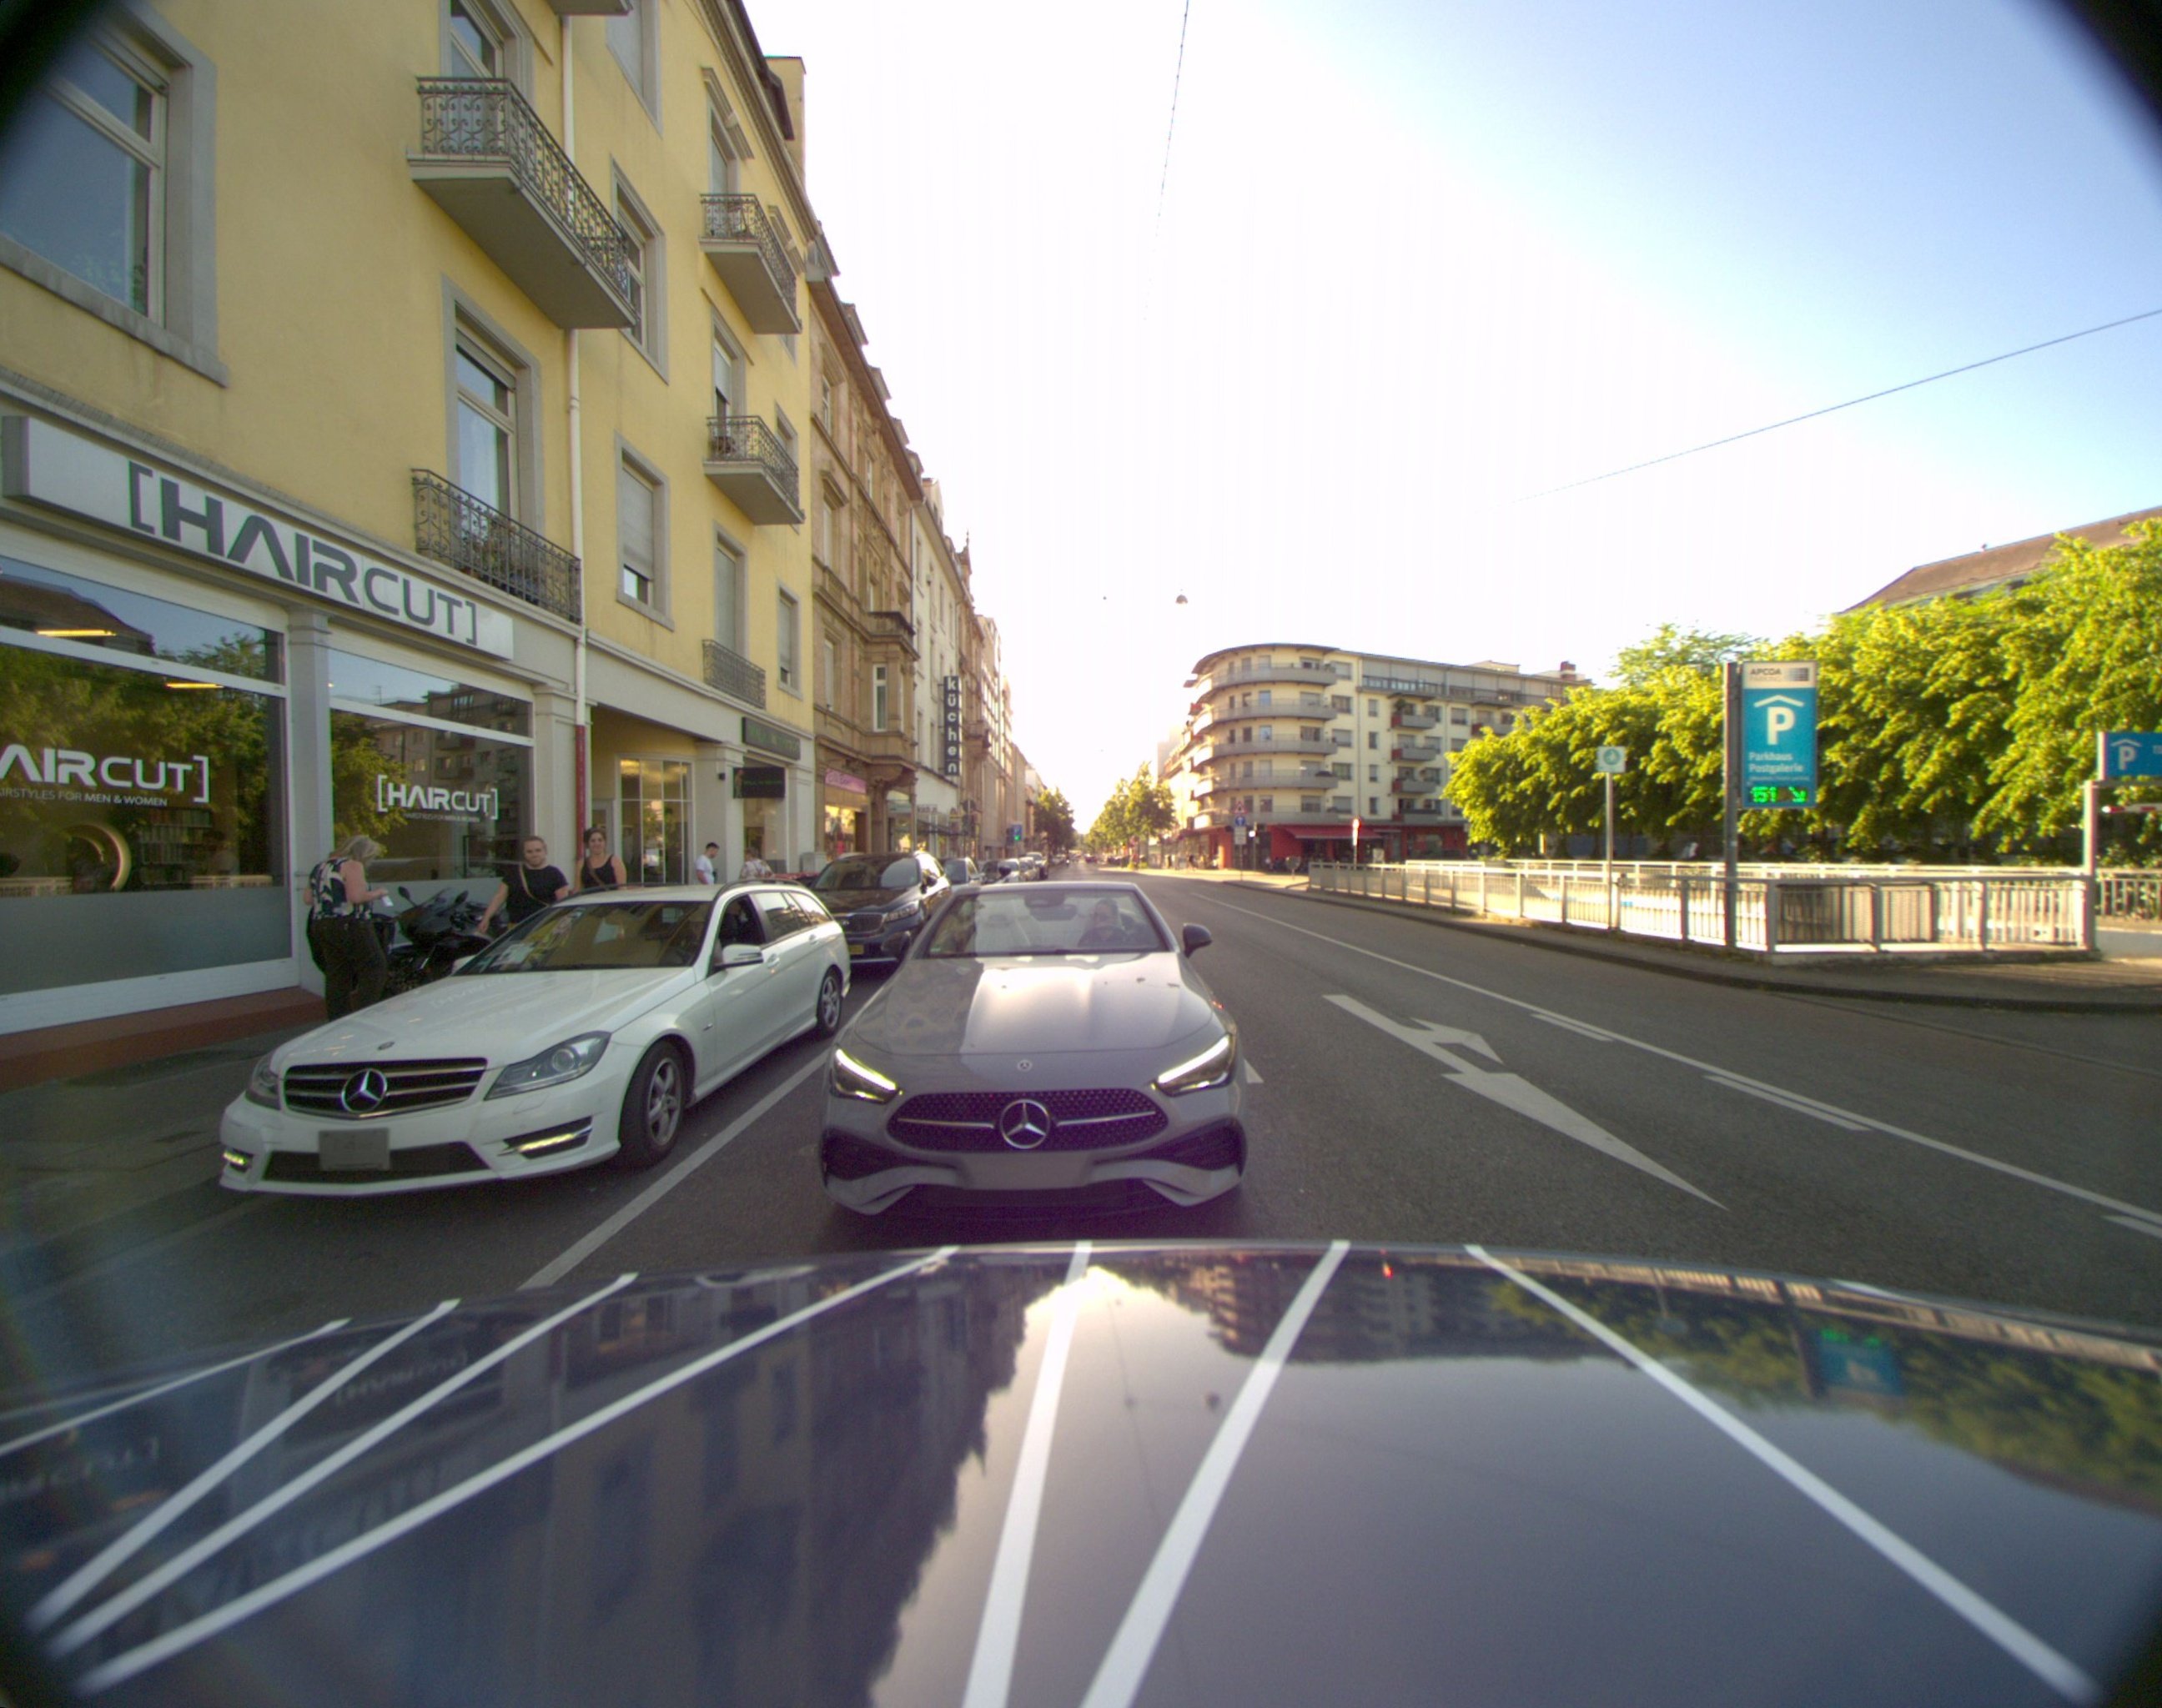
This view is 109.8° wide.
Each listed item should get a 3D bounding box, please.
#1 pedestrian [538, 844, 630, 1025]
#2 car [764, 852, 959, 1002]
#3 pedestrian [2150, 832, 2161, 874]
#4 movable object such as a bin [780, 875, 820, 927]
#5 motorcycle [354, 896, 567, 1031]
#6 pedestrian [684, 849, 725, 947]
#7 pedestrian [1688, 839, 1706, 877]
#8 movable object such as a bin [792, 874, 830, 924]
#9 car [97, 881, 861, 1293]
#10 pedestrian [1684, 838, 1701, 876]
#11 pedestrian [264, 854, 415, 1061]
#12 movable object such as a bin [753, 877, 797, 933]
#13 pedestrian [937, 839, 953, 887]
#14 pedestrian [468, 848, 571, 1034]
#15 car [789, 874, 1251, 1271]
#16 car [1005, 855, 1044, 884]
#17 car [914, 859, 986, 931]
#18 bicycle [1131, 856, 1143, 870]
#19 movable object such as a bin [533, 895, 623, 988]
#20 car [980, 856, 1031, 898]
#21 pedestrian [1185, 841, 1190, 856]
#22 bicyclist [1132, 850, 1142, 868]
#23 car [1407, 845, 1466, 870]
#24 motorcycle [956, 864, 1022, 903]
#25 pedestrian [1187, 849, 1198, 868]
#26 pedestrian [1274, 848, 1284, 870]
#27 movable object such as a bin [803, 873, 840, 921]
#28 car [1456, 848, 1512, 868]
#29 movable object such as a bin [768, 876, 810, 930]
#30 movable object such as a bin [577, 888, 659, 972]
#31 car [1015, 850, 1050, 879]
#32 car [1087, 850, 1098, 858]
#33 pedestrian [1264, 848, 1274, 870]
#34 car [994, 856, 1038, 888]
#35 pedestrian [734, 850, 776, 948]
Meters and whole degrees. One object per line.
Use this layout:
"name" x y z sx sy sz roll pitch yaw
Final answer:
"pedestrian" -4.595 0.724 7.038 0.514 1.623 0.415 -1 1 8
"car" -2.979 0.860 11.343 1.760 1.726 4.571 -1 0 -3
"pedestrian" 46.039 -0.043 32.268 0.602 1.782 0.581 -2 1 -20
"movable object such as a bin" -6.076 1.003 16.457 0.606 1.060 0.619 2 1 0
"motorcycle" -6.230 1.034 7.804 0.551 1.085 2.009 0 0 -1
"pedestrian" -6.454 0.735 13.031 0.337 1.651 0.525 1 1 24
"pedestrian" 29.278 0.171 36.101 0.602 1.782 0.581 -3 2 -45
"movable object such as a bin" -6.065 1.009 17.090 0.606 1.060 0.619 2 1 0
"car" -3.061 1.022 5.294 1.743 1.438 4.463 -1 0 0
"pedestrian" 29.609 0.153 36.784 0.602 1.782 0.581 -3 2 -45
"pedestrian" -6.059 0.814 6.235 0.698 1.623 0.532 0 1 -2
"movable object such as a bin" -6.111 1.018 15.195 0.606 1.060 0.619 2 1 0
"pedestrian" -5.014 0.333 28.047 0.434 1.752 0.481 -2 1 1
"pedestrian" -5.169 0.770 7.027 0.619 1.623 0.462 -2 1 -21
"car" -0.237 0.951 5.285 1.848 1.440 4.373 -1 0 0
"car" -2.999 0.809 41.095 1.737 1.409 3.802 -1 0 0
"car" -3.028 0.897 17.957 1.275 1.509 2.794 -1 0 -2
"bicycle" 5.088 0.802 68.850 0.713 1.205 1.872 -2 0 -6
"movable object such as a bin" -6.138 1.049 9.293 0.661 1.035 0.619 2 1 3
"car" -2.960 0.858 30.606 1.737 1.509 4.164 -1 0 -2
"pedestrian" 11.020 -0.538 78.538 0.376 1.521 0.516 -2 1 -3
"bicyclist" 5.085 0.463 68.817 0.713 1.605 0.975 -2 1 -5
"car" 29.249 0.244 62.521 4.432 1.901 1.951 -2 1 -24
"motorcycle" -3.195 1.003 26.552 2.178 1.272 0.866 -2 1 -42
"pedestrian" 9.272 0.369 63.356 0.774 1.606 0.696 -1 1 -3
"pedestrian" 15.494 0.361 59.494 0.575 1.698 0.642 -1 1 3
"movable object such as a bin" -6.056 0.996 17.759 0.606 1.060 0.619 2 1 0
"car" 34.277 0.321 64.678 4.300 1.611 1.951 -2 1 -24
"movable object such as a bin" -6.088 1.011 15.842 0.606 1.060 0.619 2 1 0
"movable object such as a bin" -6.082 0.977 9.998 0.669 1.019 0.619 2 1 3
"car" -3.005 0.633 47.724 1.895 1.680 4.049 -1 0 0
"car" 2.103 0.051 138.643 1.806 1.388 3.926 -1 0 0
"pedestrian" 14.782 0.383 59.714 0.575 1.698 0.642 -1 1 3
"car" -3.077 0.844 36.706 1.737 1.409 3.802 -1 0 0
"pedestrian" -5.651 0.762 13.168 0.594 1.651 0.450 0 1 -36
